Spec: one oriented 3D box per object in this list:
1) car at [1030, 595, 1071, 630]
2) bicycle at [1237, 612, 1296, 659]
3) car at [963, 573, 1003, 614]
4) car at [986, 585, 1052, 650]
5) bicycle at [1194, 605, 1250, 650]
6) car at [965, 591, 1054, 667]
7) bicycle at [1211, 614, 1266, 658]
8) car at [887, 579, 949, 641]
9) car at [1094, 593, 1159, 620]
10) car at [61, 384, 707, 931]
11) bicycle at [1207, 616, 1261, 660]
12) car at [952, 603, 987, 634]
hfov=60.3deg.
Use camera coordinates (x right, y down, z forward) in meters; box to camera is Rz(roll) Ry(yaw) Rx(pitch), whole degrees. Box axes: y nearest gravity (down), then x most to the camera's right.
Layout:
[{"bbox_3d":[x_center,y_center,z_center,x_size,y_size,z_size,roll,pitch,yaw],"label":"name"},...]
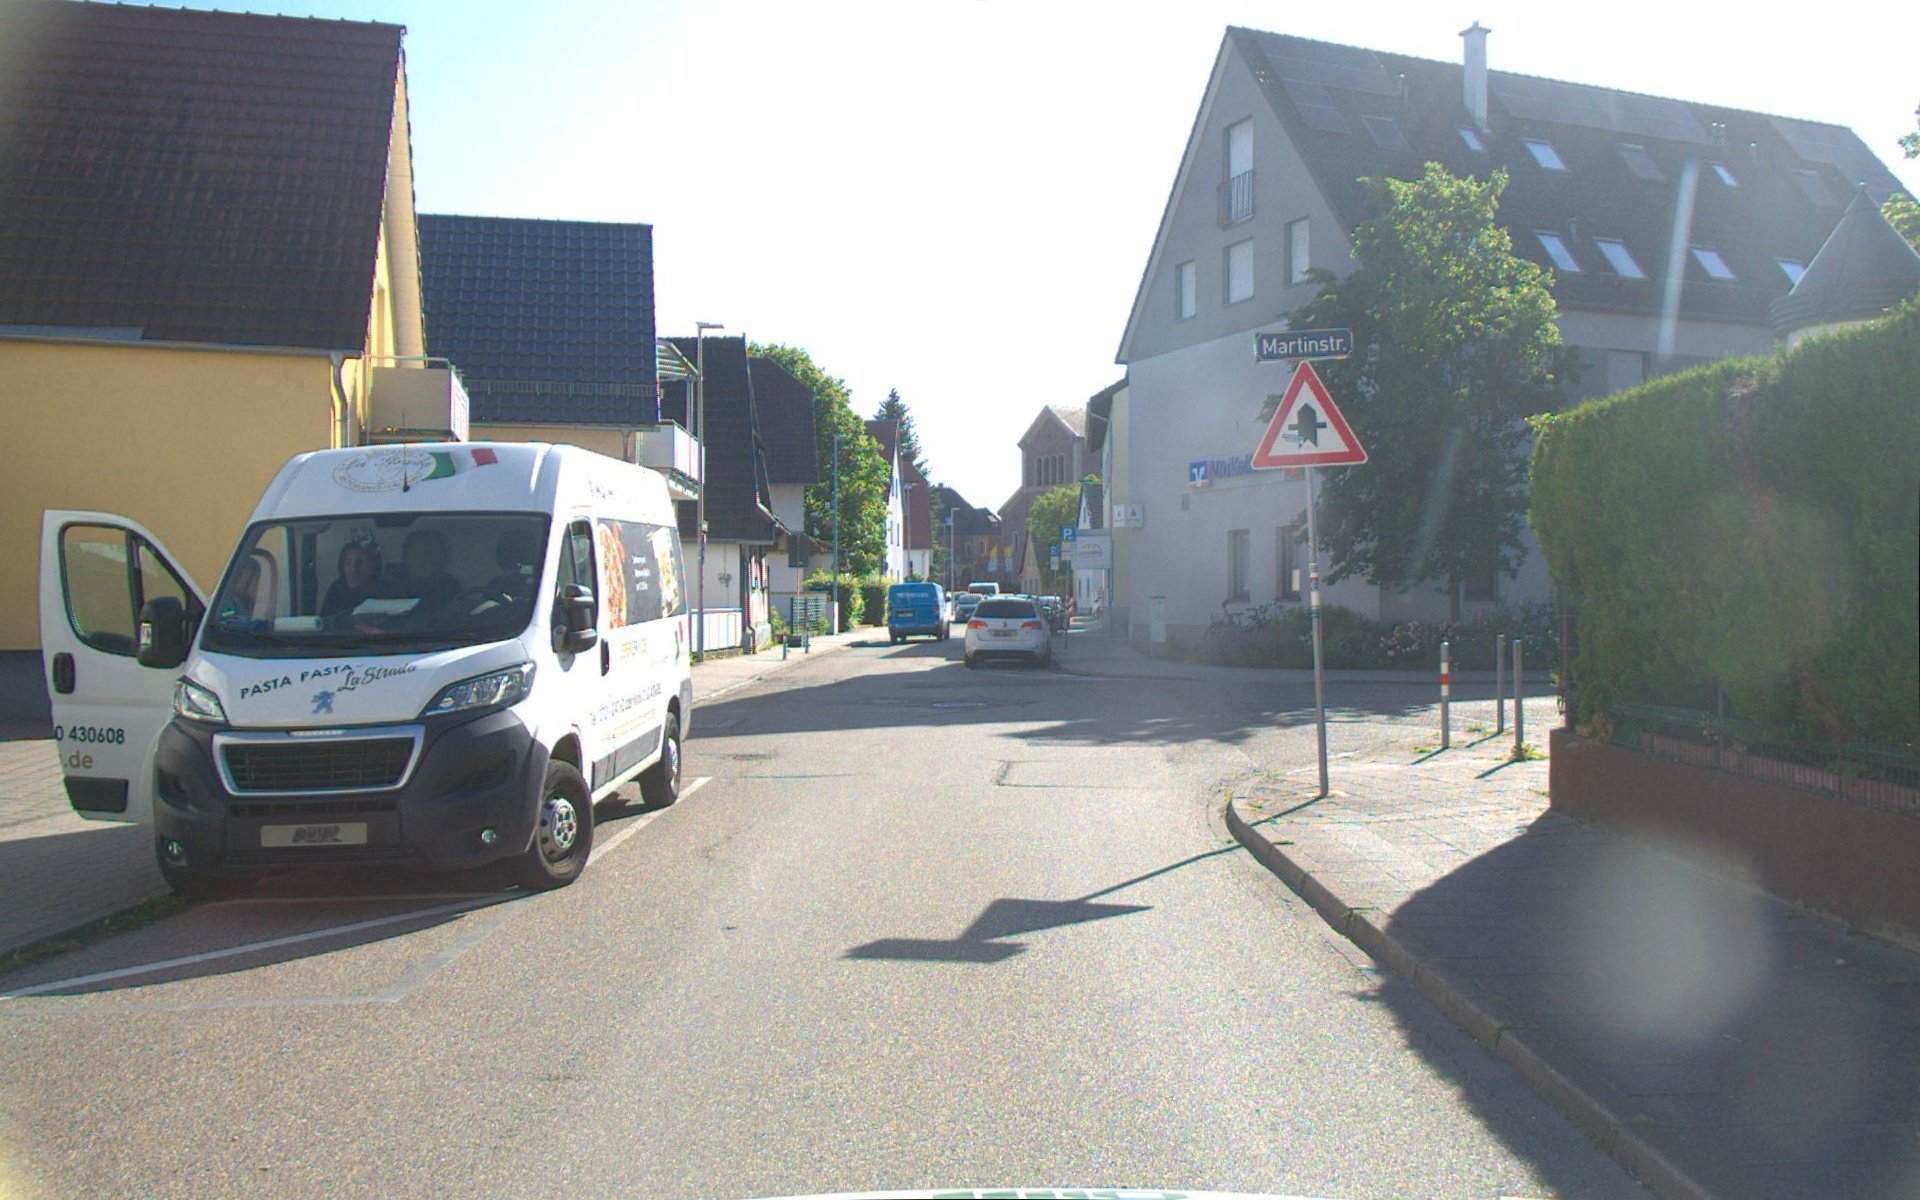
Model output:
[{"bbox_3d":[4.047,0.548,73.821,1.773,1.501,4.661,0,0,3],"label":"car"},{"bbox_3d":[6.312,0.733,34.072,1.139,0.936,0.313,-1,0,-1],"label":"bicycle"},{"bbox_3d":[1.523,-0.413,106.558,2.151,2.431,6.068,-2,0,4],"label":"car"},{"bbox_3d":[1.465,0.408,41.929,1.576,1.547,3.972,1,0,1],"label":"car"},{"bbox_3d":[5.886,0.614,37.120,1.196,0.992,0.320,-1,0,15],"label":"bicycle"},{"bbox_3d":[1.105,0.582,35.995,1.807,1.540,4.508,0,0,2],"label":"car"},{"bbox_3d":[6.032,0.786,35.836,1.138,0.936,0.313,-1,0,10],"label":"bicycle"},{"bbox_3d":[-1.367,0.325,55.919,1.863,1.951,5.070,-2,0,1],"label":"car"},{"bbox_3d":[10.392,0.404,103.277,3.829,1.518,1.849,-1,0,13],"label":"car"},{"bbox_3d":[-3.111,0.254,10.493,2.207,2.513,5.515,-1,0,-1],"label":"car"},{"bbox_3d":[6.025,0.838,36.357,1.138,0.936,0.313,-1,0,10],"label":"bicycle"},{"bbox_3d":[0.555,1.029,94.091,1.678,1.626,3.927,-2,0,4],"label":"car"}]
